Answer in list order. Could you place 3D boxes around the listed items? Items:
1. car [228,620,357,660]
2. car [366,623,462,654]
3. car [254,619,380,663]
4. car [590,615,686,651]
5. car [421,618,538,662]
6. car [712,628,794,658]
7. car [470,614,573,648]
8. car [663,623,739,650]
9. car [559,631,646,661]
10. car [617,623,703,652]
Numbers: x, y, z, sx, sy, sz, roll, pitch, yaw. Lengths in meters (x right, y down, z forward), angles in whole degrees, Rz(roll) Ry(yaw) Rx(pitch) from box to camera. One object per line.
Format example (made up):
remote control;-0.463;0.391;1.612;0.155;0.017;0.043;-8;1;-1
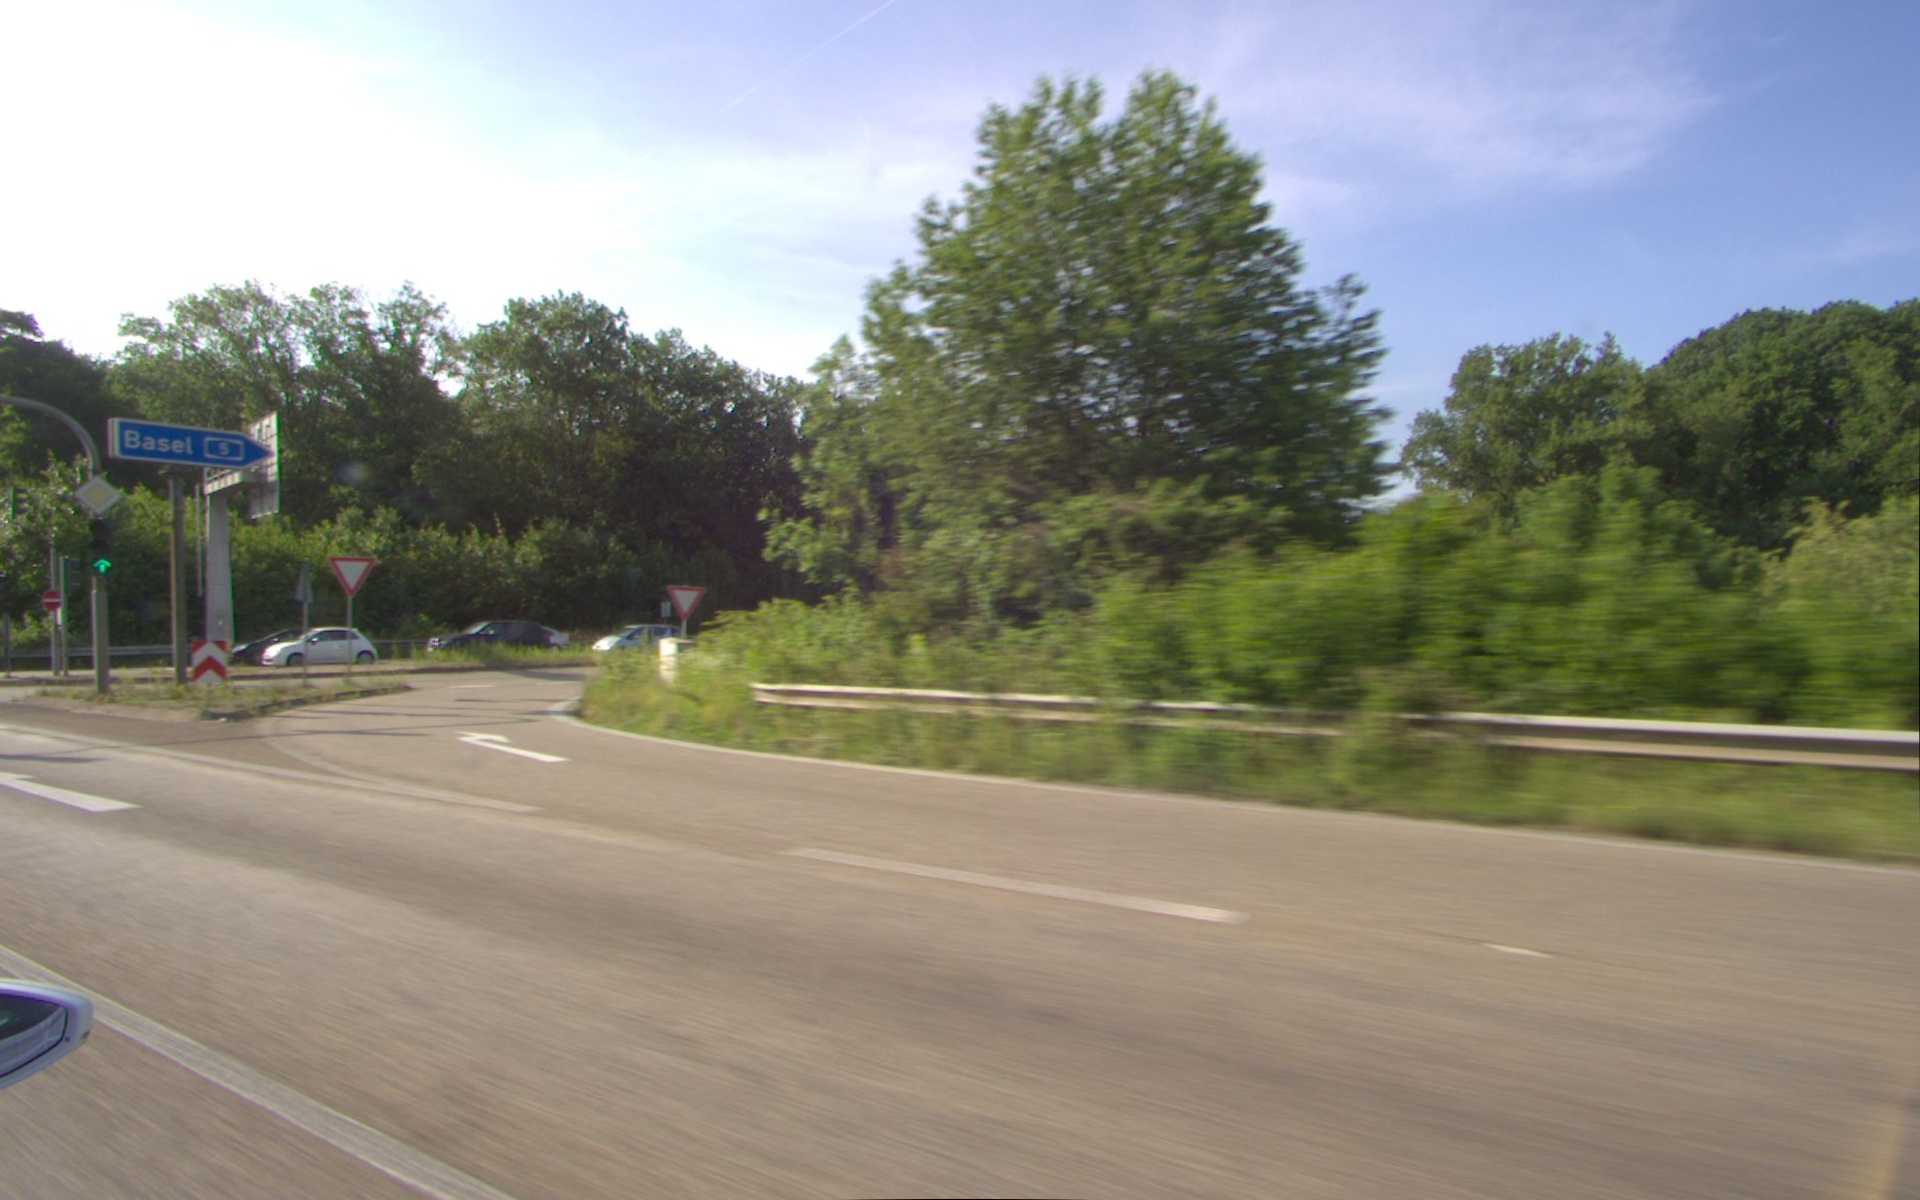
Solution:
car;-26.710;1.552;40.130;4.083;1.515;1.768;1;-1;-44
car;-24.942;1.742;45.843;1.472;1.330;3.614;0;-1;37
car;-23.979;1.485;37.432;1.785;1.523;3.586;0;-1;37
car;-15.338;1.542;47.902;1.845;1.653;4.096;0;-1;37
car;-20.076;1.636;41.970;1.845;1.731;4.096;0;-1;37
car;-10.881;2.229;52.864;1.845;1.459;4.096;0;-1;37
car;-20.452;1.412;46.838;1.845;1.515;4.096;0;-1;37
car;-15.105;2.101;58.582;1.845;1.459;4.096;0;-1;37
car;-19.174;2.434;53.885;1.845;1.459;4.096;0;-1;37
car;-15.761;1.929;52.766;1.845;1.459;4.096;0;-1;37
